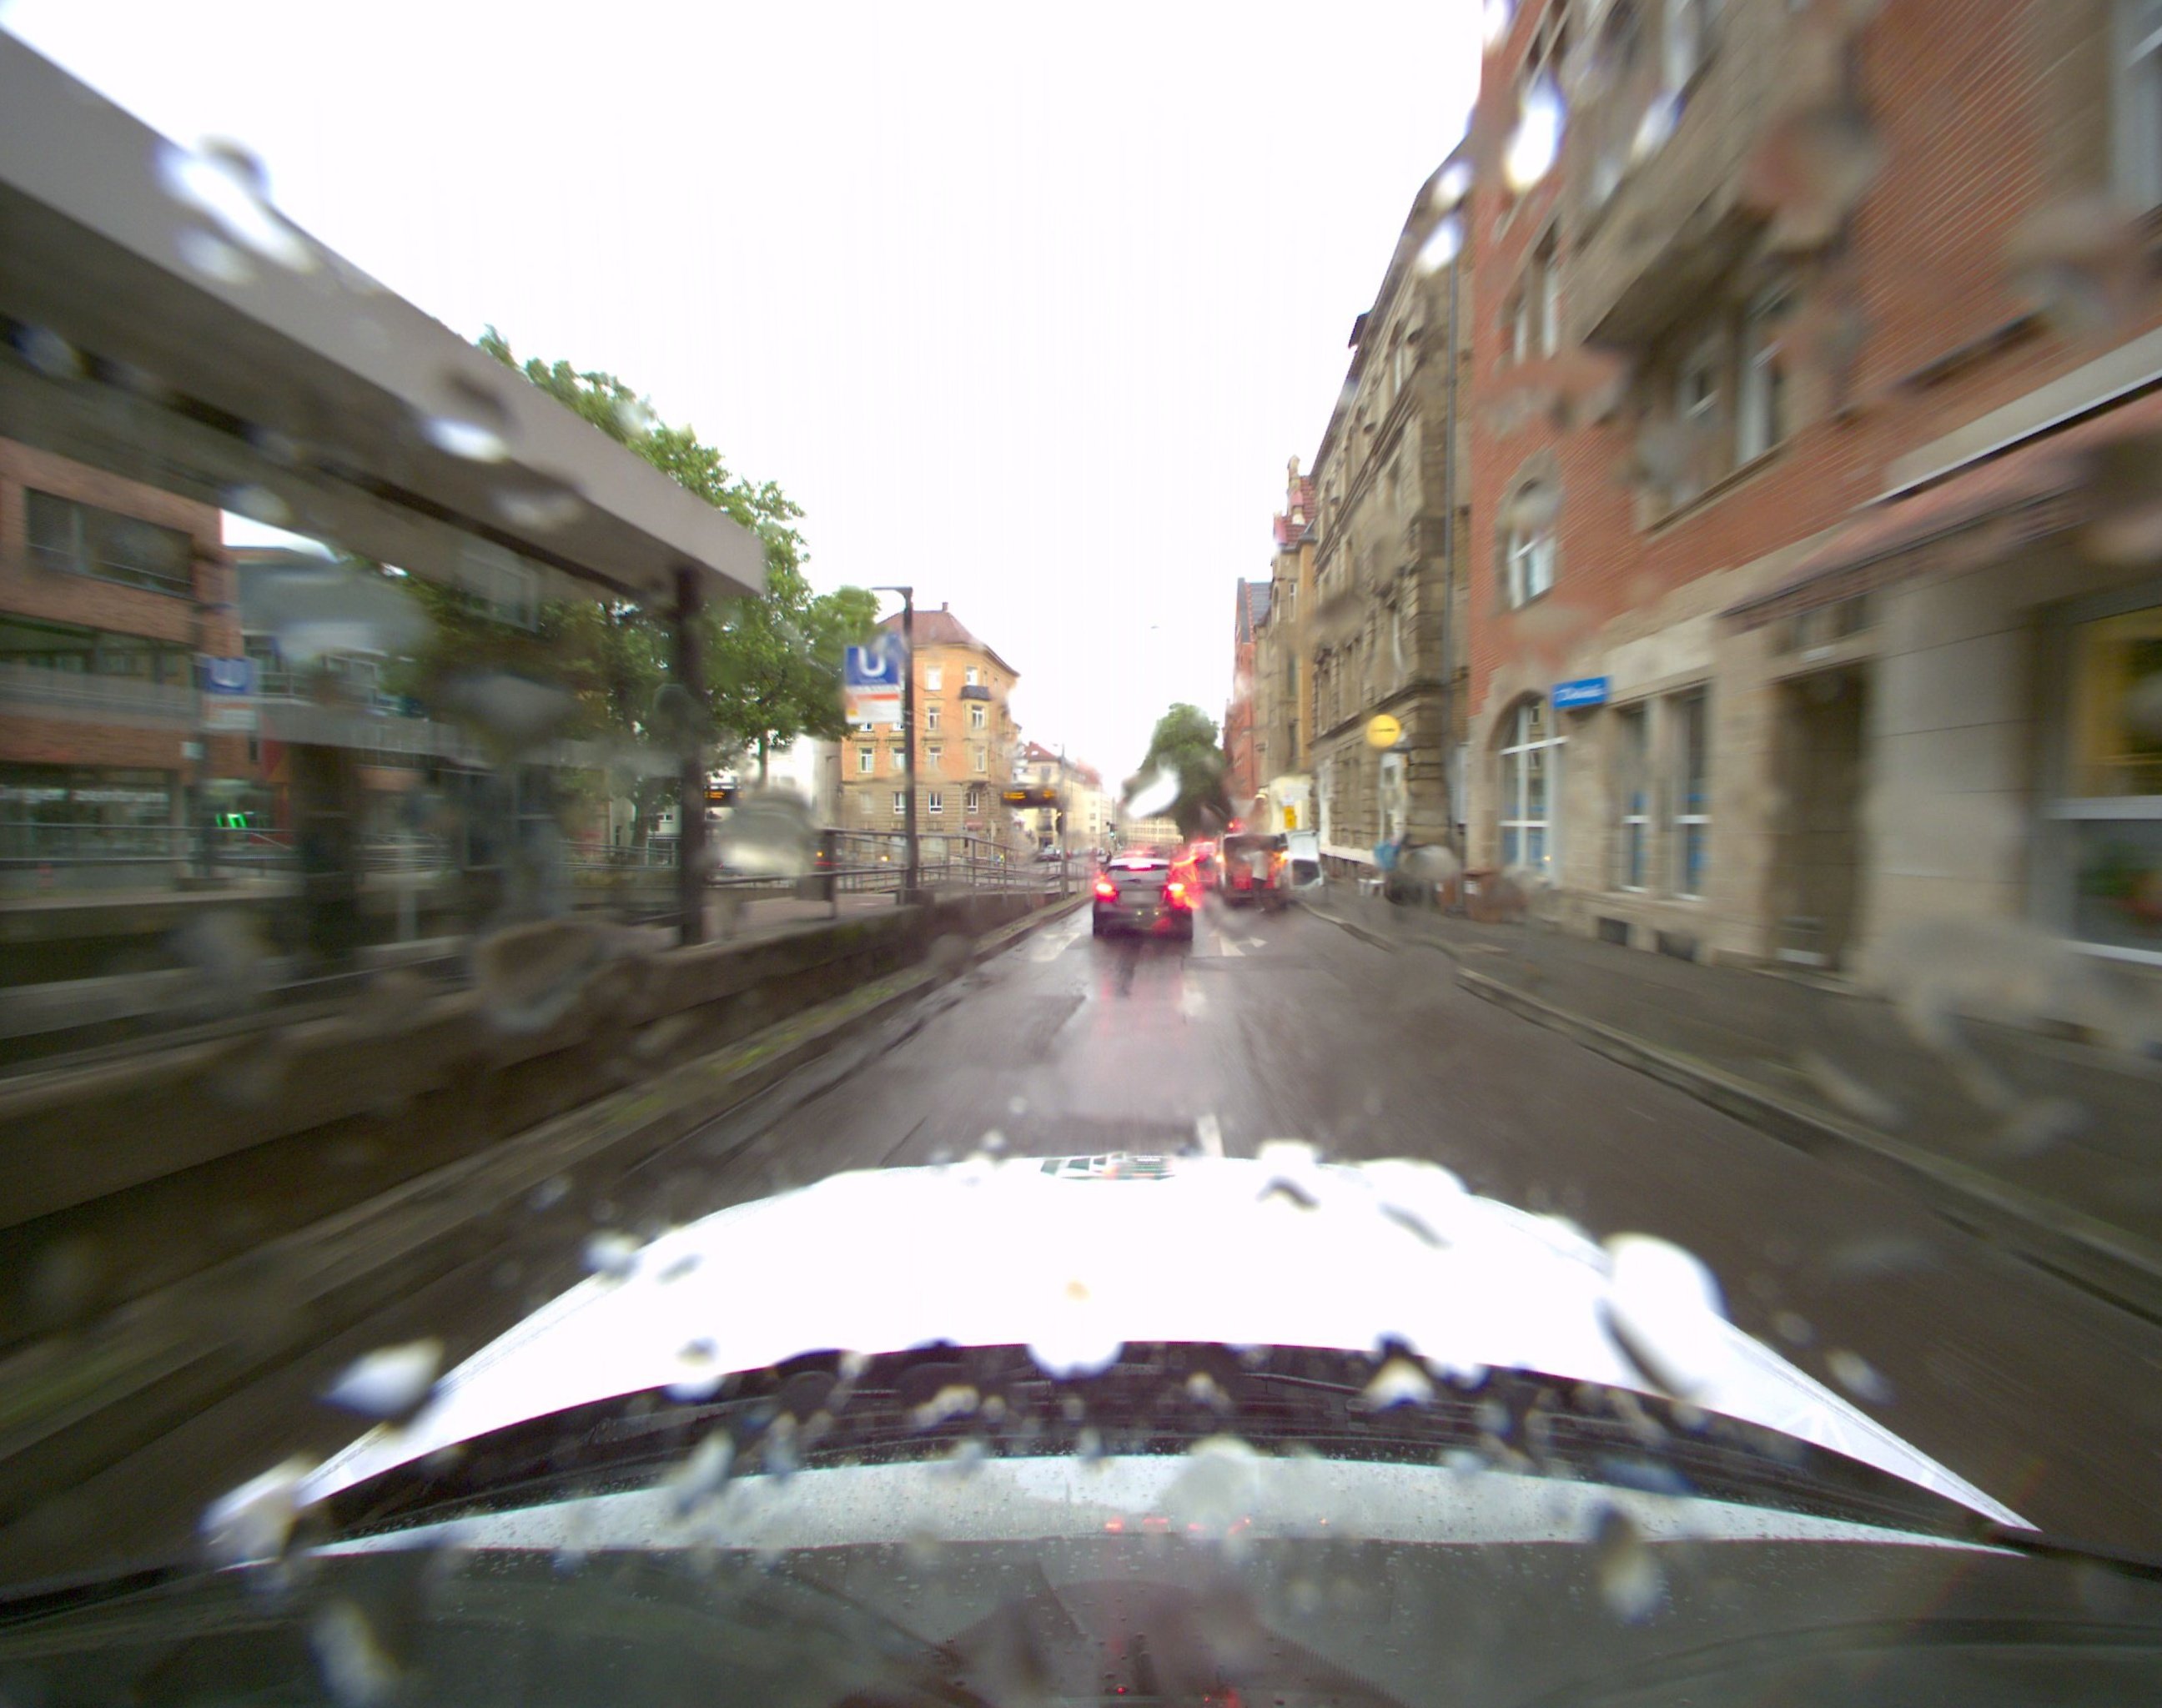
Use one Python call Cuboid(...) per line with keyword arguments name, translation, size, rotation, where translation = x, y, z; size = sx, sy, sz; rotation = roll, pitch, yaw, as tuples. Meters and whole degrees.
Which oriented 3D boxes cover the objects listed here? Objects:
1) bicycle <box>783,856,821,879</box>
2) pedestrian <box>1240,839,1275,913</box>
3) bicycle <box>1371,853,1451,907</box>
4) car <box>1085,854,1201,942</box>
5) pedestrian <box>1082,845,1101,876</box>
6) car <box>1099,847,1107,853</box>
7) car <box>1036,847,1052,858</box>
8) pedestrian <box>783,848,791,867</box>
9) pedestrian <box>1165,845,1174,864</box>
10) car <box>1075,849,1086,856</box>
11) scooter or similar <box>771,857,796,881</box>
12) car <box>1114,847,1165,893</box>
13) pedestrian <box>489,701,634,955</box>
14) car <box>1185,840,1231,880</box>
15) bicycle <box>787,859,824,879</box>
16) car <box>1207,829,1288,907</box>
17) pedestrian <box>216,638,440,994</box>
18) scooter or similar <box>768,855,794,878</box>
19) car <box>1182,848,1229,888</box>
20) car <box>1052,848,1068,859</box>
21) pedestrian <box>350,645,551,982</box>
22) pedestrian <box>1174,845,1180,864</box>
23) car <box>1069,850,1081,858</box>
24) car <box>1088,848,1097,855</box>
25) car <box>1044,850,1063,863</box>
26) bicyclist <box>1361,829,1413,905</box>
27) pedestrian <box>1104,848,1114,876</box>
Cuboid(name="bicycle", translation=(-15.072, 0.740, 43.994), size=(1.867, 1.195, 0.517), rotation=(-1, 0, -5))
Cuboid(name="pedestrian", translation=(4.339, 0.533, 20.100), size=(0.681, 1.754, 0.837), rotation=(-2, 0, 4))
Cuboid(name="bicycle", translation=(7.266, 0.556, 17.911), size=(1.687, 1.115, 0.462), rotation=(-2, 0, -17))
Cuboid(name="car", translation=(1.285, 0.725, 15.341), size=(1.884, 1.390, 4.009), rotation=(-1, 0, 8))
Cuboid(name="pedestrian", translation=(0.595, 0.356, 45.199), size=(0.744, 1.724, 0.733), rotation=(-1, 0, -37))
Cuboid(name="car", translation=(4.634, -0.855, 172.825), size=(1.387, 1.171, 3.168), rotation=(0, 0, 7))
Cuboid(name="car", translation=(-4.300, -0.194, 94.662), size=(1.445, 1.318, 3.301), rotation=(1, 1, 6))
Cuboid(name="pedestrian", translation=(-26.333, 0.310, 72.926), size=(0.520, 1.622, 0.481), rotation=(-1, 0, -33))
Cuboid(name="pedestrian", translation=(7.939, 0.054, 72.806), size=(0.674, 1.661, 0.678), rotation=(-1, 0, 13))
Cuboid(name="car", translation=(-0.054, -0.295, 133.602), size=(1.387, 1.171, 3.168), rotation=(0, 0, 7))
Cuboid(name="scooter or similar", translation=(-15.327, 0.753, 41.951), size=(1.118, 1.195, 0.357), rotation=(-1, 0, -44))
Cuboid(name="car", translation=(2.118, 0.525, 29.179), size=(1.672, 1.489, 3.618), rotation=(-1, 0, 5))
Cuboid(name="pedestrian", translation=(-3.418, -0.163, 5.384), size=(0.610, 1.581, 0.508), rotation=(0, 0, 10))
Cuboid(name="car", translation=(6.183, 0.261, 40.078), size=(1.924, 1.831, 4.286), rotation=(0, 1, 4))
Cuboid(name="bicycle", translation=(-15.190, 0.813, 44.954), size=(1.867, 1.061, 0.517), rotation=(-1, 0, -5))
Cuboid(name="car", translation=(4.532, 0.345, 22.748), size=(1.910, 1.936, 4.696), rotation=(-1, 0, 8))
Cuboid(name="pedestrian", translation=(-3.595, -0.167, 3.917), size=(0.610, 1.581, 0.508), rotation=(0, 0, 10))
Cuboid(name="scooter or similar", translation=(-15.644, 0.653, 42.422), size=(1.259, 1.195, 0.296), rotation=(-1, 0, -44))
Cuboid(name="car", translation=(5.081, 0.518, 32.913), size=(1.702, 1.469, 4.294), rotation=(0, 0, 11))
Cuboid(name="car", translation=(-2.749, -0.068, 107.535), size=(1.671, 1.356, 3.710), rotation=(0, 0, 7))
Cuboid(name="pedestrian", translation=(-3.394, -0.203, 4.424), size=(0.610, 1.688, 0.589), rotation=(0, 0, 10))
Cuboid(name="pedestrian", translation=(8.676, 0.038, 73.491), size=(0.515, 1.666, 0.478), rotation=(1, 1, 10))
Cuboid(name="car", translation=(-0.852, -0.003, 120.196), size=(1.429, 1.106, 3.168), rotation=(0, 0, 7))
Cuboid(name="car", translation=(2.182, -0.458, 151.127), size=(1.387, 1.171, 3.168), rotation=(0, 0, 7))
Cuboid(name="car", translation=(-3.382, 0.262, 101.498), size=(1.777, 1.530, 4.470), rotation=(0, 0, 6))
Cuboid(name="bicyclist", translation=(6.864, 0.291, 18.294), size=(0.849, 1.657, 0.628), rotation=(-2, 0, -16))
Cuboid(name="pedestrian", translation=(1.523, 0.446, 44.837), size=(0.530, 1.530, 0.436), rotation=(0, 0, -1))
